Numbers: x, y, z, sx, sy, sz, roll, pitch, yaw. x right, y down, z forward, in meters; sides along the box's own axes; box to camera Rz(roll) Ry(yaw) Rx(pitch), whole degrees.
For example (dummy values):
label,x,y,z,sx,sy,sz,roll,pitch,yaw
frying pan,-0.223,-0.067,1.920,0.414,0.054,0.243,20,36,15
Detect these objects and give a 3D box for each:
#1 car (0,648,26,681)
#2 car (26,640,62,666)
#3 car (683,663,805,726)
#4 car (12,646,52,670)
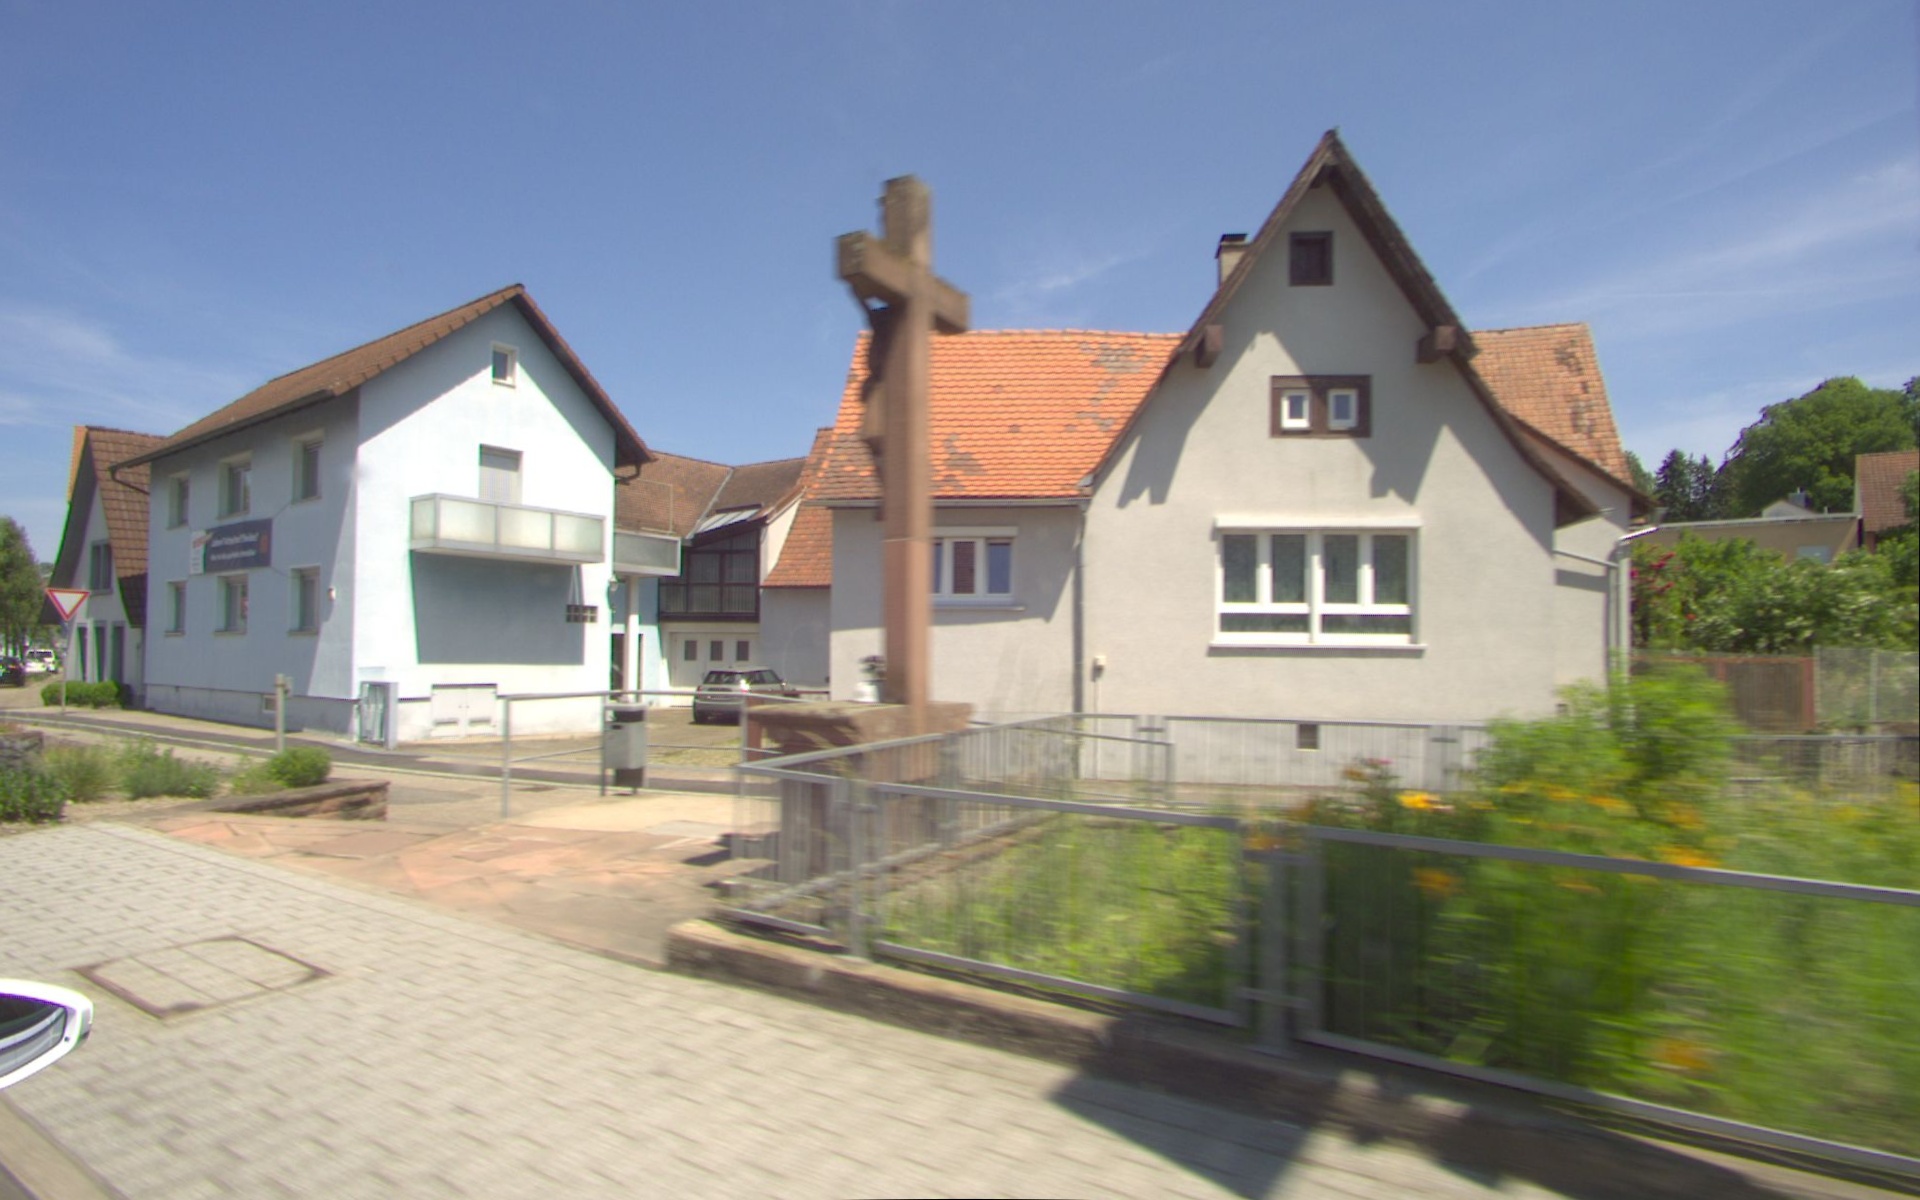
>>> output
label,x,y,z,sx,sy,sz,roll,pitch,yaw
car,-48.279,3.191,50.248,1.981,1.604,3.964,5,-5,-43
car,-73.043,4.242,79.827,1.981,2.016,3.964,4,-5,-43
car,-5.688,2.455,26.818,1.781,1.471,3.736,0,-3,12
car,-65.698,4.088,70.904,1.981,1.604,3.964,5,-5,-43
